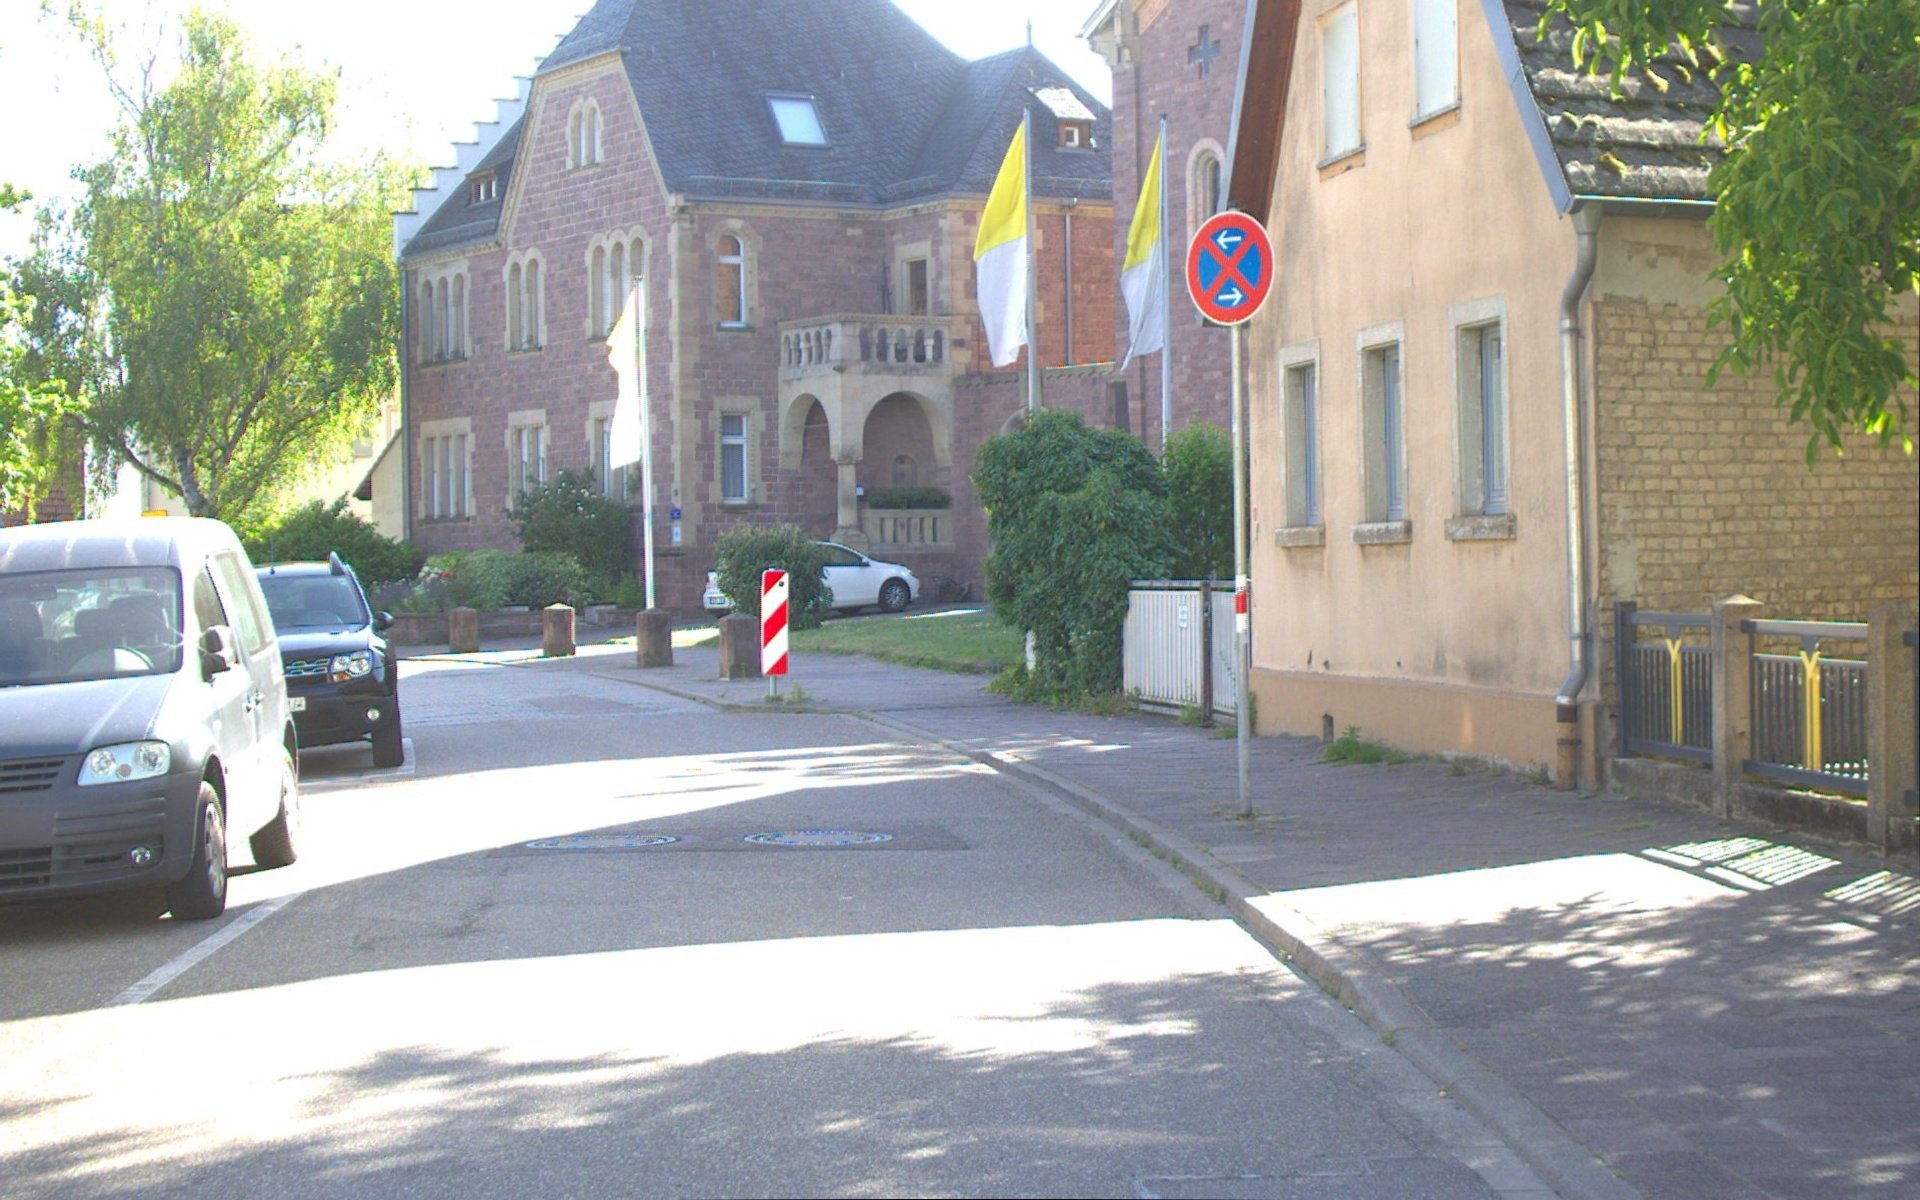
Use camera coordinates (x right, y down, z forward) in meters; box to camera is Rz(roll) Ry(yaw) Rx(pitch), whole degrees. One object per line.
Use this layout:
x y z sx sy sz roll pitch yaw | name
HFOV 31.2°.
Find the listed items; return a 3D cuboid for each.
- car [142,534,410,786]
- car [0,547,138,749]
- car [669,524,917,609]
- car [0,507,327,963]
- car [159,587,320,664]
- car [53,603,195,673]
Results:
-5.451 0.406 27.384 1.825 1.726 4.203 -4 2 -12 | car
-9.743 0.523 31.179 4.187 1.726 1.832 -4 2 -19 | car
-3.061 -0.625 63.267 4.234 1.396 1.718 -3 1 -33 | car
-4.194 0.536 16.109 1.825 1.808 4.203 -4 2 -4 | car
-14.138 0.482 67.282 1.712 1.396 4.247 -3 1 -31 | car
-18.086 0.790 74.268 1.712 1.396 4.247 -3 1 -31 | car
